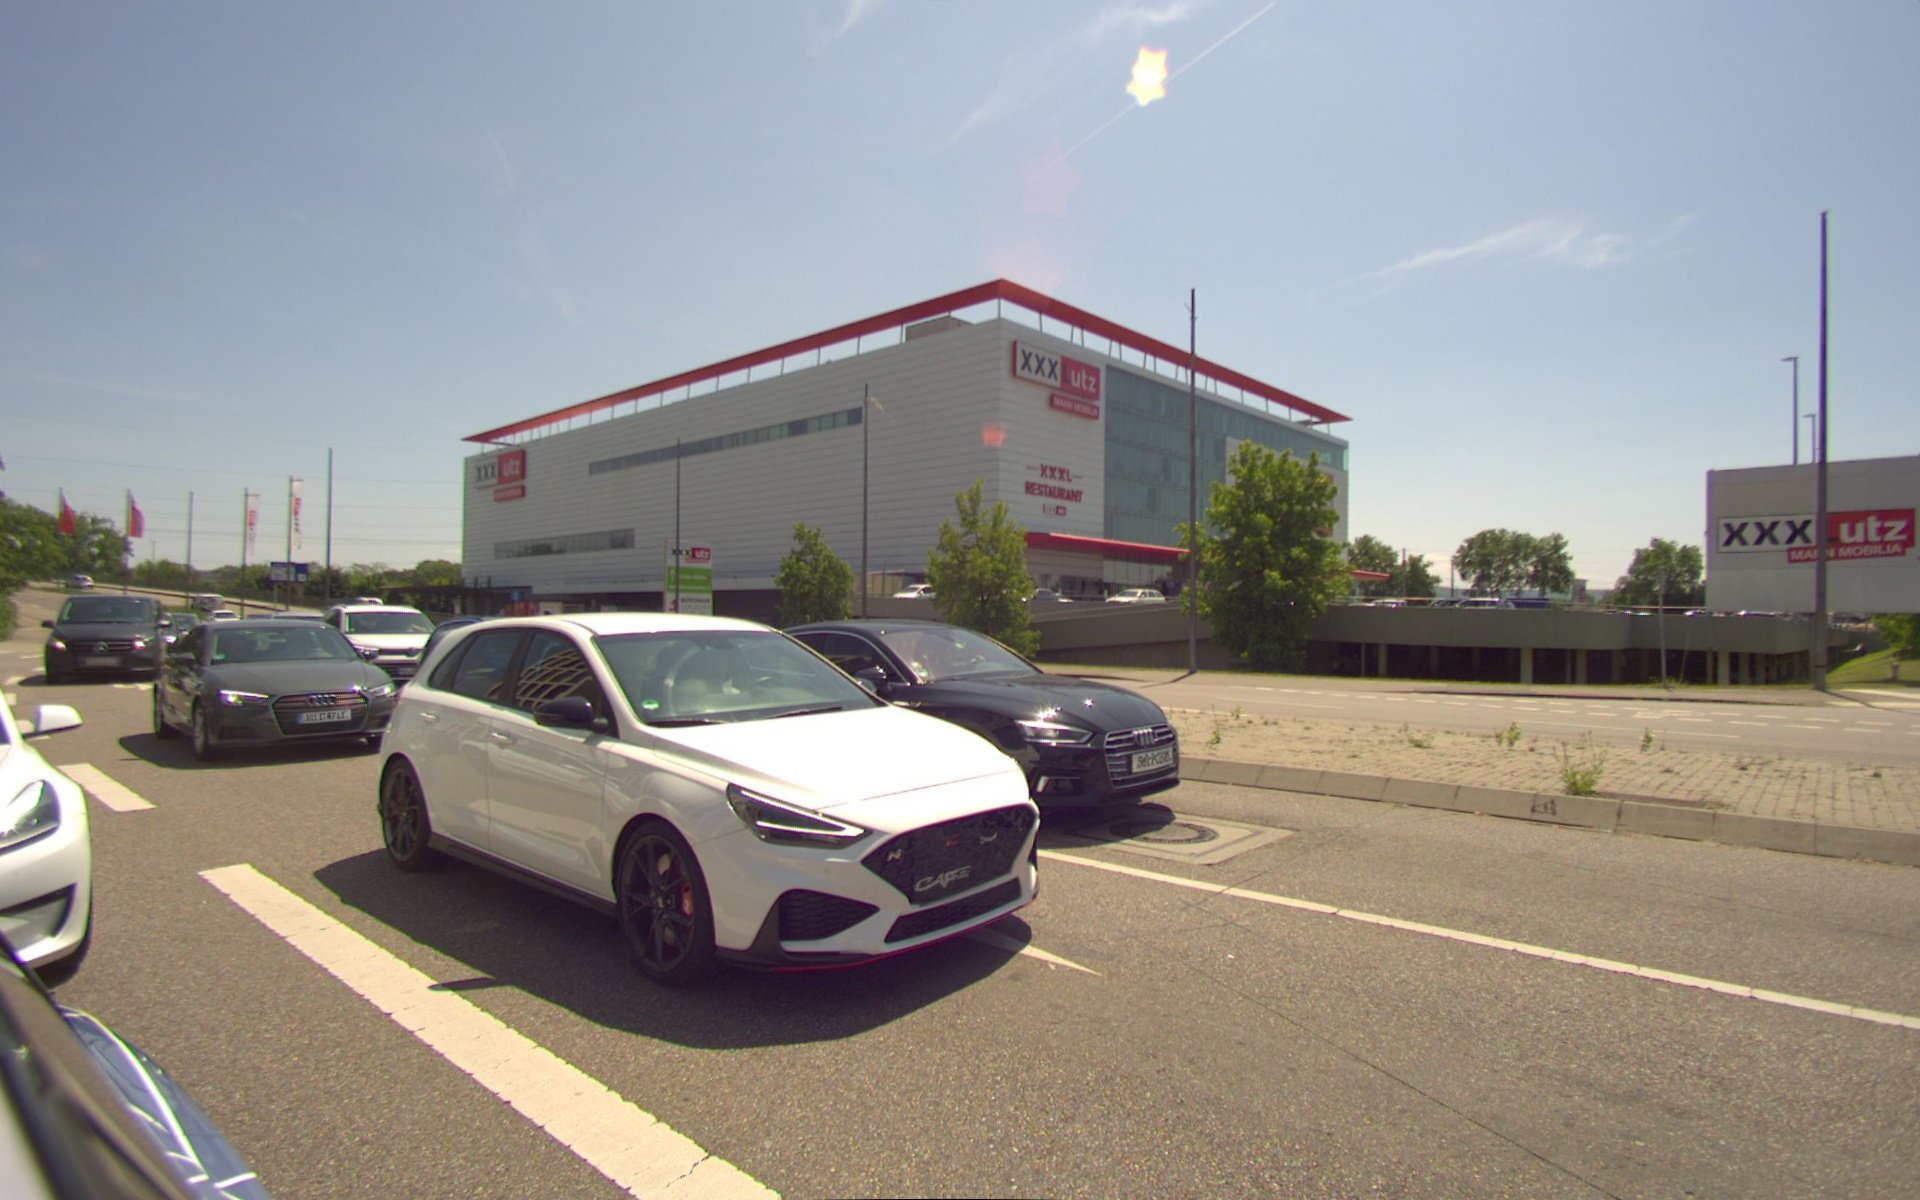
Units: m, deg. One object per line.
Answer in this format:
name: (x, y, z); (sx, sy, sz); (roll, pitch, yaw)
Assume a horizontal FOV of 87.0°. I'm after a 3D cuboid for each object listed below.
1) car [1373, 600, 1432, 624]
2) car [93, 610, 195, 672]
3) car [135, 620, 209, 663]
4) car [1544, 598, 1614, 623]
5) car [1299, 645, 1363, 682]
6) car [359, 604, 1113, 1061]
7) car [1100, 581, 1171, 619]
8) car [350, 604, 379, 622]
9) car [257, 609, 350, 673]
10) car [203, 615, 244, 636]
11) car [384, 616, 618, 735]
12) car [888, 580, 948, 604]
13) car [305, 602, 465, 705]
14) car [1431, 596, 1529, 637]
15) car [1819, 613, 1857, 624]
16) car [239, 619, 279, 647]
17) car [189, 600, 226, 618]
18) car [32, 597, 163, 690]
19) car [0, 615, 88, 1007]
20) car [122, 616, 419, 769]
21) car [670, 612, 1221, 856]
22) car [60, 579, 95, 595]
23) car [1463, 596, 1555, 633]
car: (36.031, 0.965, 82.496); (4.000, 1.915, 1.972); (-1, -2, 43)
car: (-23.472, 1.154, 29.241); (1.784, 1.652, 4.011); (1, -2, -32)
car: (-28.182, 1.469, 36.300); (1.582, 1.451, 3.744); (1, -2, -30)
car: (44.931, 0.748, 73.527); (4.134, 1.754, 1.759); (0, -2, 42)
car: (19.044, 3.221, 51.893); (1.997, 1.719, 3.949); (-1, -2, 38)
car: (-1.416, 0.767, 5.248); (4.068, 1.447, 1.769); (-1, -1, 41)
car: (10.020, 0.051, 57.618); (4.407, 2.029, 1.680); (2, -2, -44)
car: (-79.578, 1.743, 135.250); (4.815, 2.300, 2.162); (-1, -2, 44)
car: (-16.298, 0.968, 25.046); (1.741, 1.433, 3.908); (-1, -1, -36)
car: (-53.901, 1.850, 74.022); (4.000, 1.483, 1.702); (-1, -2, 43)
car: (-6.695, 0.971, 14.494); (1.744, 1.413, 4.435); (0, -1, -43)
car: (-2.817, -0.528, 69.078); (3.940, 1.519, 1.719); (2, -2, -43)
car: (-10.708, 0.893, 18.681); (1.743, 1.653, 4.498); (0, 0, -40)
car: (27.261, 0.859, 53.090); (4.323, 2.029, 1.974); (0, -2, 38)
car: (126.820, 2.674, 146.225); (3.997, 1.433, 1.679); (0, -1, 33)
car: (-39.653, 1.844, 57.303); (1.698, 1.564, 4.011); (1, -2, -33)
car: (-72.753, 0.875, 97.809); (4.037, 1.736, 1.844); (-1, -2, 38)
car: (-19.109, 0.877, 22.338); (1.869, 1.835, 4.840); (0, -1, -44)
car: (-5.594, 0.809, 4.671); (4.282, 1.447, 1.800); (-1, 0, 41)
car: (-7.793, 0.886, 11.299); (4.087, 1.393, 1.747); (-1, -1, 41)
car: (-0.357, 0.849, 8.071); (4.466, 1.415, 1.654); (-2, -1, 42)
car: (-104.718, -1.475, 120.117); (4.026, 1.736, 1.849); (-1, -2, 29)
car: (31.004, 0.838, 57.225); (4.323, 2.029, 1.975); (0, -2, 38)
